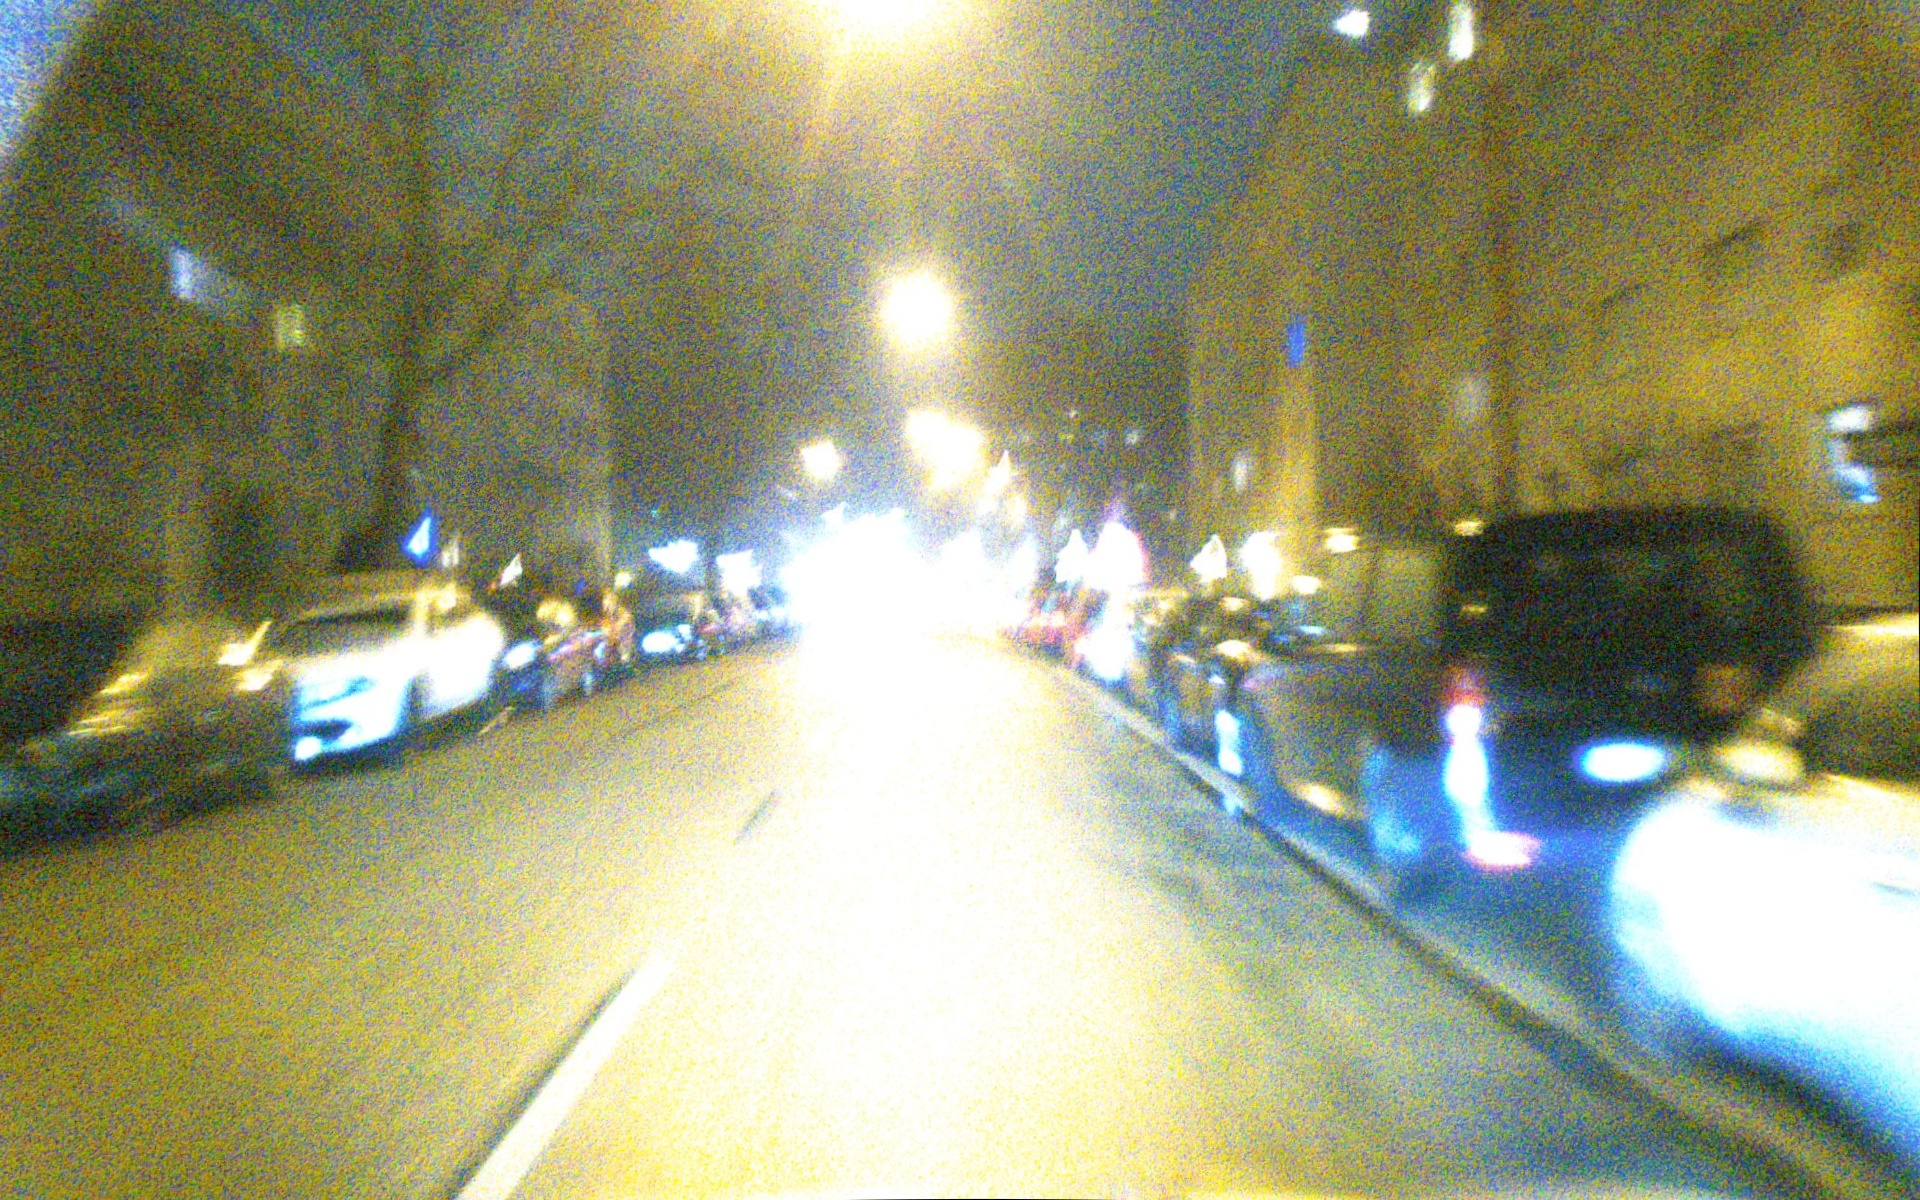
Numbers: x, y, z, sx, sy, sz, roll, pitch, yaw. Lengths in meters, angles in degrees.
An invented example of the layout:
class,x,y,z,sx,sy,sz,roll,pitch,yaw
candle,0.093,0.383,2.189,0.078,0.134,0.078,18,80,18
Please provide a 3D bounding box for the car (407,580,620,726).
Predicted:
class,x,y,z,sx,sy,sz,roll,pitch,yaw
car,-5.685,0.592,21.595,1.633,1.566,4.389,-5,1,-2

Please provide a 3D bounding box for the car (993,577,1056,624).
class,x,y,z,sx,sy,sz,roll,pitch,yaw
car,2.154,-0.008,56.319,1.786,1.446,4.487,-3,1,-2

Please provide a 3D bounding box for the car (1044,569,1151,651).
class,x,y,z,sx,sy,sz,roll,pitch,yaw
car,2.448,0.141,30.105,1.427,1.329,3.627,-3,1,-3

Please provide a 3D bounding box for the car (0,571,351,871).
class,x,y,z,sx,sy,sz,roll,pitch,yaw
car,-5.588,0.639,10.899,1.632,1.566,4.389,-3,1,-3

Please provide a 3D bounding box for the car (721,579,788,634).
class,x,y,z,sx,sy,sz,roll,pitch,yaw
car,-6.186,0.162,50.108,1.566,1.456,4.003,-5,1,-2

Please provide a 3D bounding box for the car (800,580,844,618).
class,x,y,z,sx,sy,sz,roll,pitch,yaw
car,-6.318,-0.077,76.220,1.566,1.591,4.379,-5,1,0

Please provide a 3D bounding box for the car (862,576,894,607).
class,x,y,z,sx,sy,sz,roll,pitch,yaw
car,-5.939,-0.670,119.432,1.994,1.987,5.196,-4,2,-4

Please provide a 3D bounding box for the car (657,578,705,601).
class,x,y,z,sx,sy,sz,roll,pitch,yaw
car,-19.483,-0.758,115.640,1.677,1.456,3.921,-1,1,18

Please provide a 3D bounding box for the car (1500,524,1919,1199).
class,x,y,z,sx,sy,sz,roll,pitch,yaw
car,3.060,0.566,4.307,1.760,1.574,3.949,-3,1,-4

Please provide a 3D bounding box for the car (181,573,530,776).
class,x,y,z,sx,sy,sz,roll,pitch,yaw
car,-5.636,0.592,16.055,1.632,1.566,4.391,-5,1,1

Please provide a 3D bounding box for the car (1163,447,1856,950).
class,x,y,z,sx,sy,sz,roll,pitch,yaw
car,2.652,0.361,9.769,1.760,1.984,5.850,-3,1,-3

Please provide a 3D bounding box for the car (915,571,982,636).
class,x,y,z,sx,sy,sz,roll,pitch,yaw
car,-0.403,0.078,55.895,2.124,2.006,4.301,-2,1,-1

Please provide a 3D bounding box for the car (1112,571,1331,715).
class,x,y,z,sx,sy,sz,roll,pitch,yaw
car,3.050,0.437,20.167,1.759,1.472,4.278,-3,1,-3

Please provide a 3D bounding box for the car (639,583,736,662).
class,x,y,z,sx,sy,sz,roll,pitch,yaw
car,-5.799,0.442,35.520,1.402,1.485,3.374,-5,1,1

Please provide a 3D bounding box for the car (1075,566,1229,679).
class,x,y,z,sx,sy,sz,roll,pitch,yaw
car,2.871,0.284,25.591,1.641,1.513,4.278,-3,1,-3

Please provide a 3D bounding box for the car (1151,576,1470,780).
class,x,y,z,sx,sy,sz,roll,pitch,yaw
car,3.014,0.585,15.134,1.760,1.517,4.126,-3,1,-4

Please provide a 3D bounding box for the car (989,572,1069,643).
class,x,y,z,sx,sy,sz,roll,pitch,yaw
car,1.671,0.143,40.839,1.787,1.574,4.353,-3,1,1

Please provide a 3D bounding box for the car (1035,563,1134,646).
class,x,y,z,sx,sy,sz,roll,pitch,yaw
car,2.619,0.046,35.798,1.718,1.574,4.978,-3,1,0

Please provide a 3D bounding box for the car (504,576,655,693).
class,x,y,z,sx,sy,sz,roll,pitch,yaw
car,-6.113,0.496,27.021,1.713,1.625,4.386,-5,1,-5

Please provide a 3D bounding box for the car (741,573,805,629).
class,x,y,z,sx,sy,sz,roll,pitch,yaw
car,-6.152,0.000,54.762,1.566,1.632,4.258,-5,1,0
